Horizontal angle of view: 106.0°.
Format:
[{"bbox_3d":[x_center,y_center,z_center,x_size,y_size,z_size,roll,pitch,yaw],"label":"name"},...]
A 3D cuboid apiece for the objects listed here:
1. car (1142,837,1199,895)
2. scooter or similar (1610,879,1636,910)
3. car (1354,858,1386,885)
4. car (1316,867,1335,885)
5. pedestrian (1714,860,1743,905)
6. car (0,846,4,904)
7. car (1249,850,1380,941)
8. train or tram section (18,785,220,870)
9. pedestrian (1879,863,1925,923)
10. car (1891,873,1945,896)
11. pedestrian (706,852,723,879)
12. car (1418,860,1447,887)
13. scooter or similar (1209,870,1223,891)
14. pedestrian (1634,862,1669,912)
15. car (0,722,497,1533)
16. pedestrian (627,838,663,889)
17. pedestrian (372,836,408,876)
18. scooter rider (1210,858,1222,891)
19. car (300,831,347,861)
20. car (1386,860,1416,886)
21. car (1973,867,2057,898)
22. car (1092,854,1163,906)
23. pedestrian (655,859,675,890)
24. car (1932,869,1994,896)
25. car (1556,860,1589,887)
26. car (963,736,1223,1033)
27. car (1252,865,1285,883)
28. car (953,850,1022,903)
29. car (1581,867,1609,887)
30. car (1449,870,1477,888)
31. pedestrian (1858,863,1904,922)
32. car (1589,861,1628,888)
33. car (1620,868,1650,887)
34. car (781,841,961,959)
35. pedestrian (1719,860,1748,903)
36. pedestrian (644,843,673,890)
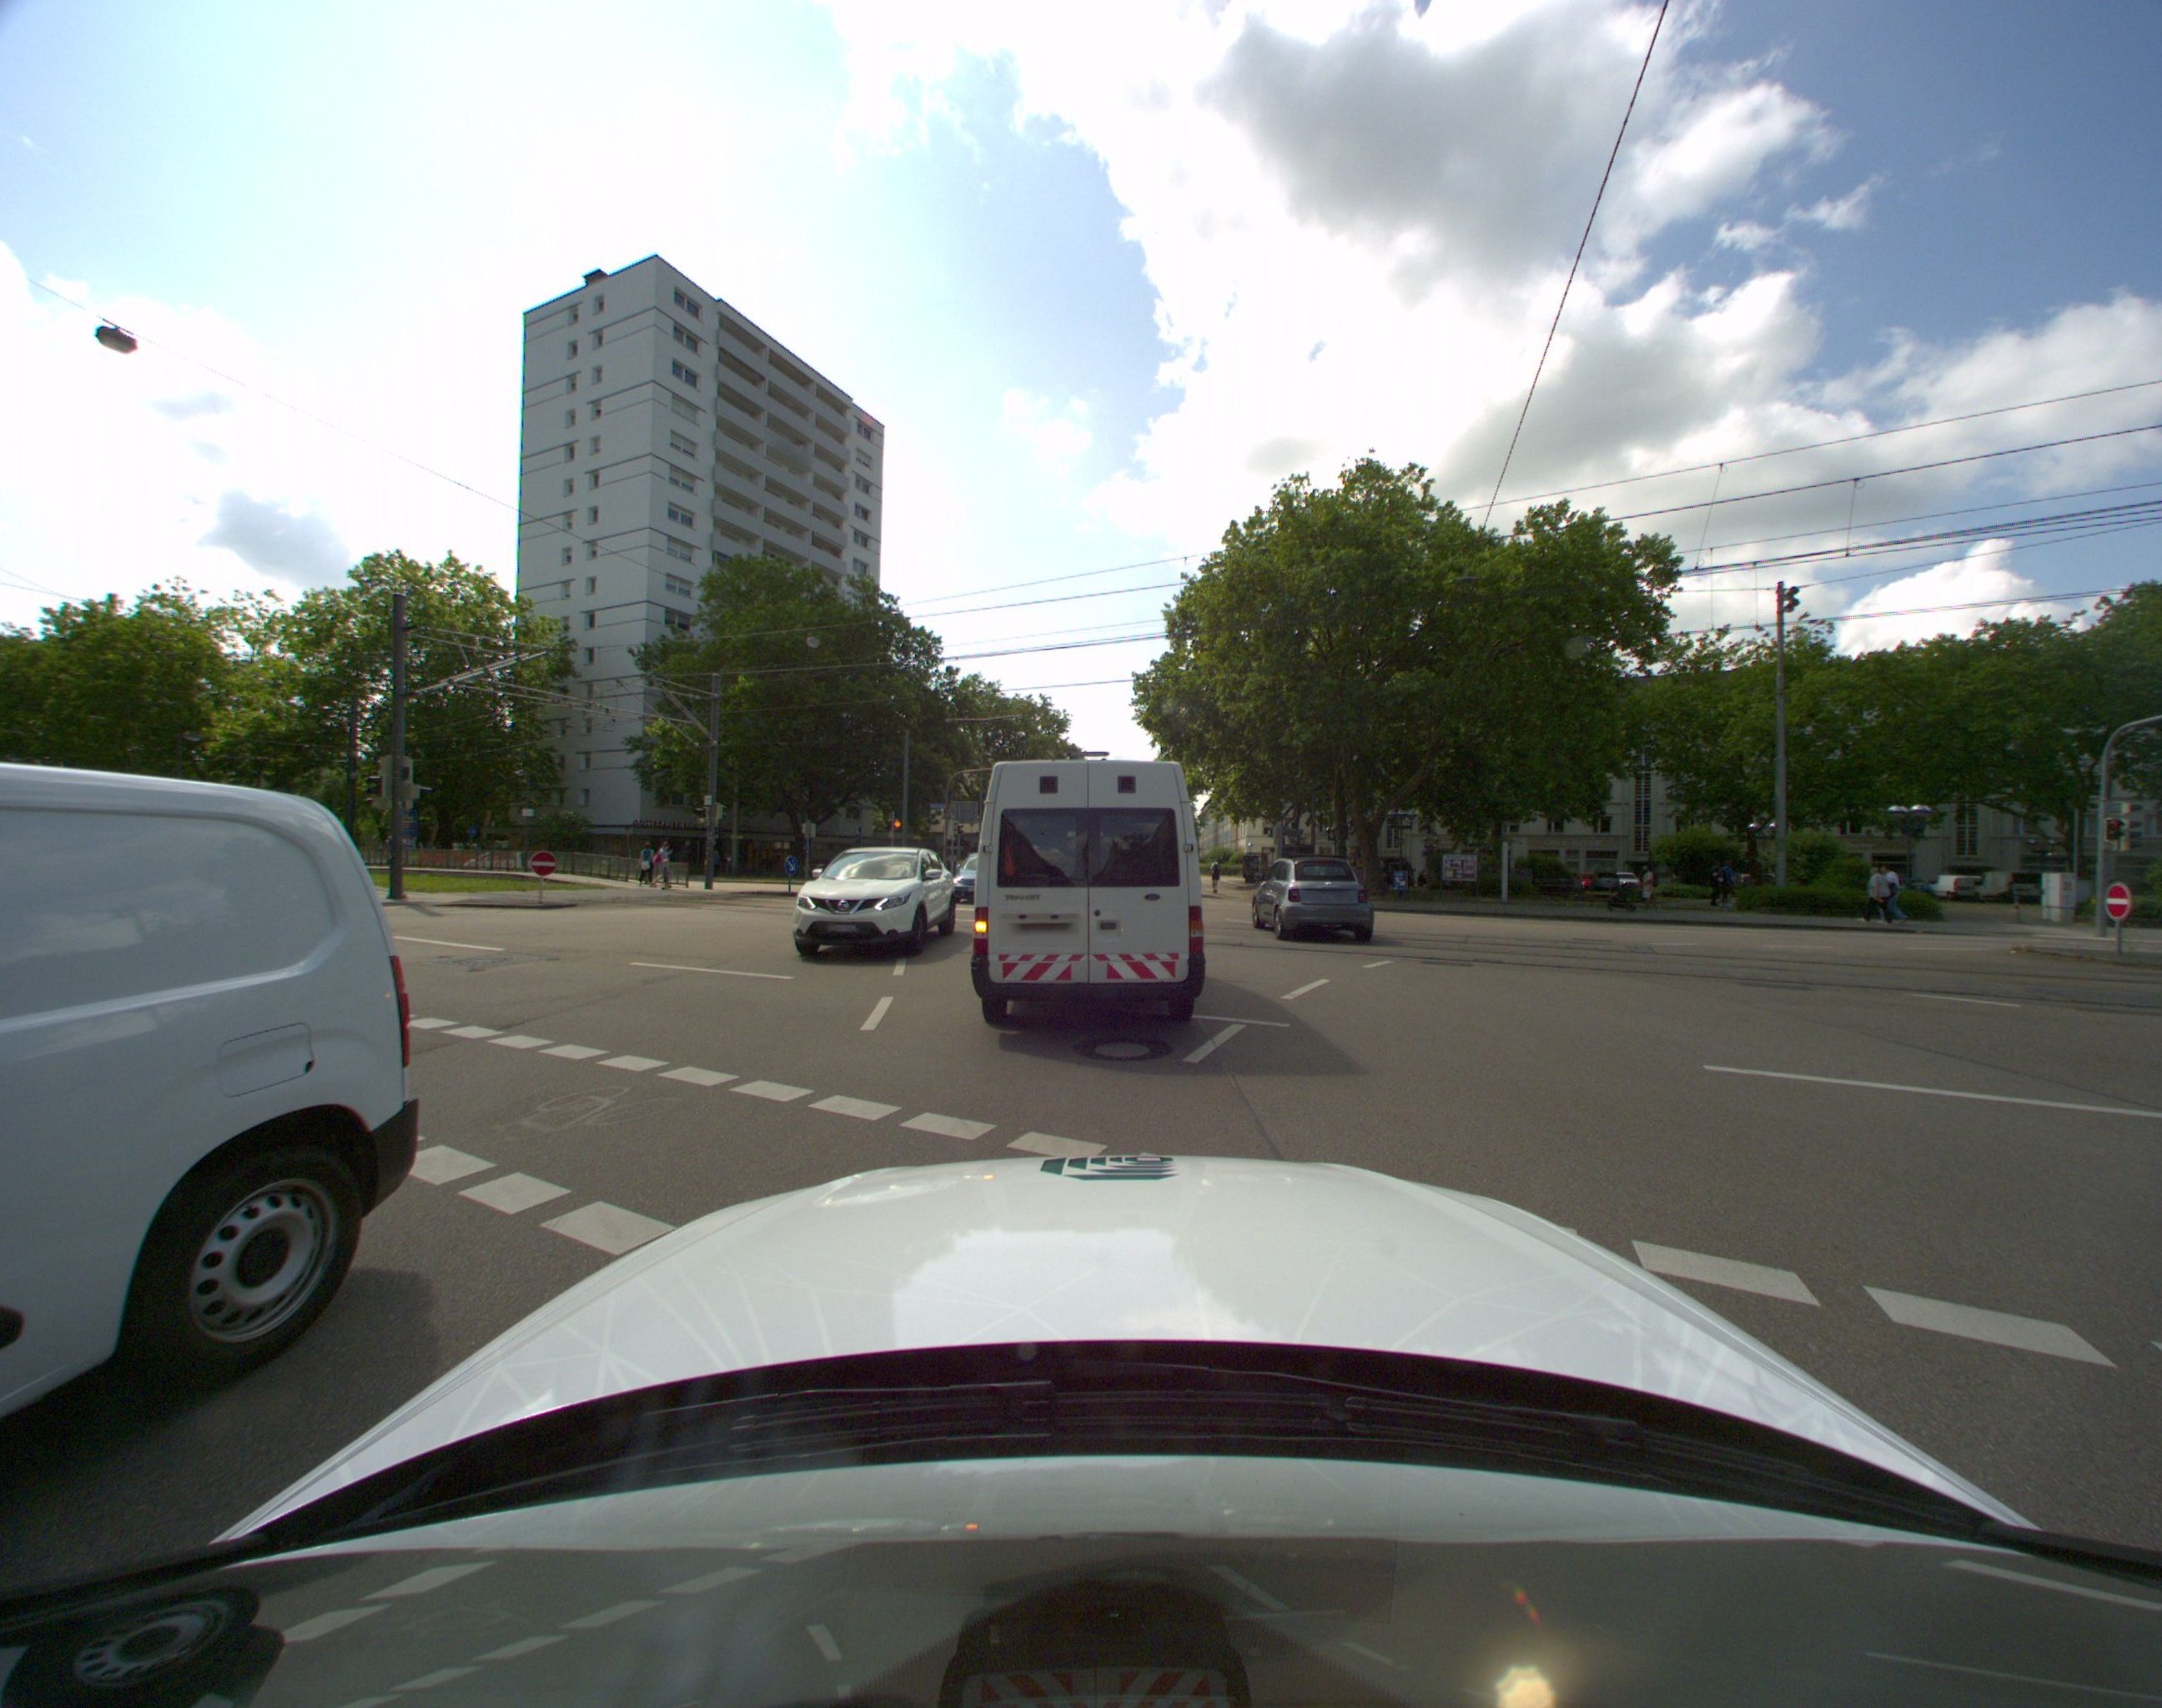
[{"bbox_3d":[4.328,0.554,40.382,2.113,2.641,6.327,1,0,0],"label":"car"},{"bbox_3d":[18.744,1.396,28.153,0.699,1.056,0.494,1,-1,27],"label":"scooter or similar"},{"bbox_3d":[24.547,1.488,69.082,1.975,2.183,4.282,1,-1,27],"label":"car"},{"bbox_3d":[20.189,1.793,67.280,1.454,1.389,3.080,1,-1,17],"label":"car"},{"bbox_3d":[25.640,1.120,32.247,0.694,1.750,0.606,1,-1,2],"label":"pedestrian"},{"bbox_3d":[-28.735,0.478,20.204,3.599,1.438,1.648,1,-1,24],"label":"car"},{"bbox_3d":[4.394,0.713,15.844,1.685,1.538,3.470,1,0,2],"label":"car"},{"bbox_3d":[-45.567,-1.160,38.420,12.855,3.584,2.832,1,-1,25],"label":"train or tram section"},{"bbox_3d":[24.600,1.164,24.413,0.665,1.764,0.693,1,-1,2],"label":"pedestrian"},{"bbox_3d":[64.139,2.314,62.469,1.722,1.637,4.024,0,-1,28],"label":"car"},{"bbox_3d":[-21.852,0.679,48.540,0.775,1.599,0.538,1,-1,23],"label":"pedestrian"},{"bbox_3d":[28.980,1.601,67.119,1.975,2.076,4.023,1,-1,27],"label":"car"},{"bbox_3d":[7.463,1.443,45.042,0.547,1.091,1.292,1,0,2],"label":"scooter or similar"},{"bbox_3d":[19.467,1.118,27.790,0.911,1.646,0.573,1,-1,27],"label":"pedestrian"},{"bbox_3d":[-3.268,0.604,1.138,1.806,1.775,4.283,0,1,0],"label":"car"},{"bbox_3d":[-16.671,0.351,31.115,0.836,1.899,0.834,0,-1,26],"label":"pedestrian"},{"bbox_3d":[-32.013,0.091,37.732,1.032,1.780,0.856,1,-1,26],"label":"pedestrian"},{"bbox_3d":[7.473,1.149,45.079,0.524,1.812,0.649,1,-1,1],"label":"scooter rider"},{"bbox_3d":[-72.637,-0.786,78.101,4.225,2.775,1.823,1,-1,25],"label":"car"},{"bbox_3d":[26.935,1.588,68.513,1.975,2.076,4.023,1,-1,27],"label":"car"},{"bbox_3d":[60.163,1.802,52.560,2.078,1.905,4.518,0,-1,28],"label":"car"},{"bbox_3d":[1.389,0.770,25.969,1.810,1.506,4.126,1,0,-3],"label":"car"},{"bbox_3d":[-14.762,0.721,28.913,0.431,1.063,0.423,1,-1,27],"label":"pedestrian"},{"bbox_3d":[66.523,2.113,61.493,1.975,1.964,4.024,0,-1,28],"label":"car"},{"bbox_3d":[38.490,1.505,63.860,1.975,2.014,4.024,0,-1,27],"label":"car"},{"bbox_3d":[0.035,0.244,8.836,2.042,2.333,4.711,1,0,-2],"label":"car"},{"bbox_3d":[16.965,1.798,73.399,2.009,1.600,4.564,0,-1,24],"label":"car"},{"bbox_3d":[-2.869,0.660,25.687,1.742,1.540,3.931,0,0,0],"label":"car"},{"bbox_3d":[45.144,1.994,71.592,1.722,1.637,4.024,0,-1,28],"label":"car"},{"bbox_3d":[31.241,2.013,66.535,1.975,1.422,4.023,1,-1,27],"label":"car"},{"bbox_3d":[23.911,1.138,24.350,0.714,1.722,0.693,1,-1,2],"label":"pedestrian"},{"bbox_3d":[40.483,1.553,62.565,1.975,2.014,4.022,0,-1,24],"label":"car"},{"bbox_3d":[47.933,2.024,70.493,1.722,1.637,4.024,0,-1,28],"label":"car"},{"bbox_3d":[-3.161,0.610,13.121,1.764,1.582,4.021,-1,0,1],"label":"car"},{"bbox_3d":[26.910,1.123,33.591,0.694,1.750,0.606,1,-1,2],"label":"pedestrian"},{"bbox_3d":[-15.239,0.436,29.359,0.667,1.666,0.629,1,-1,26],"label":"pedestrian"}]
